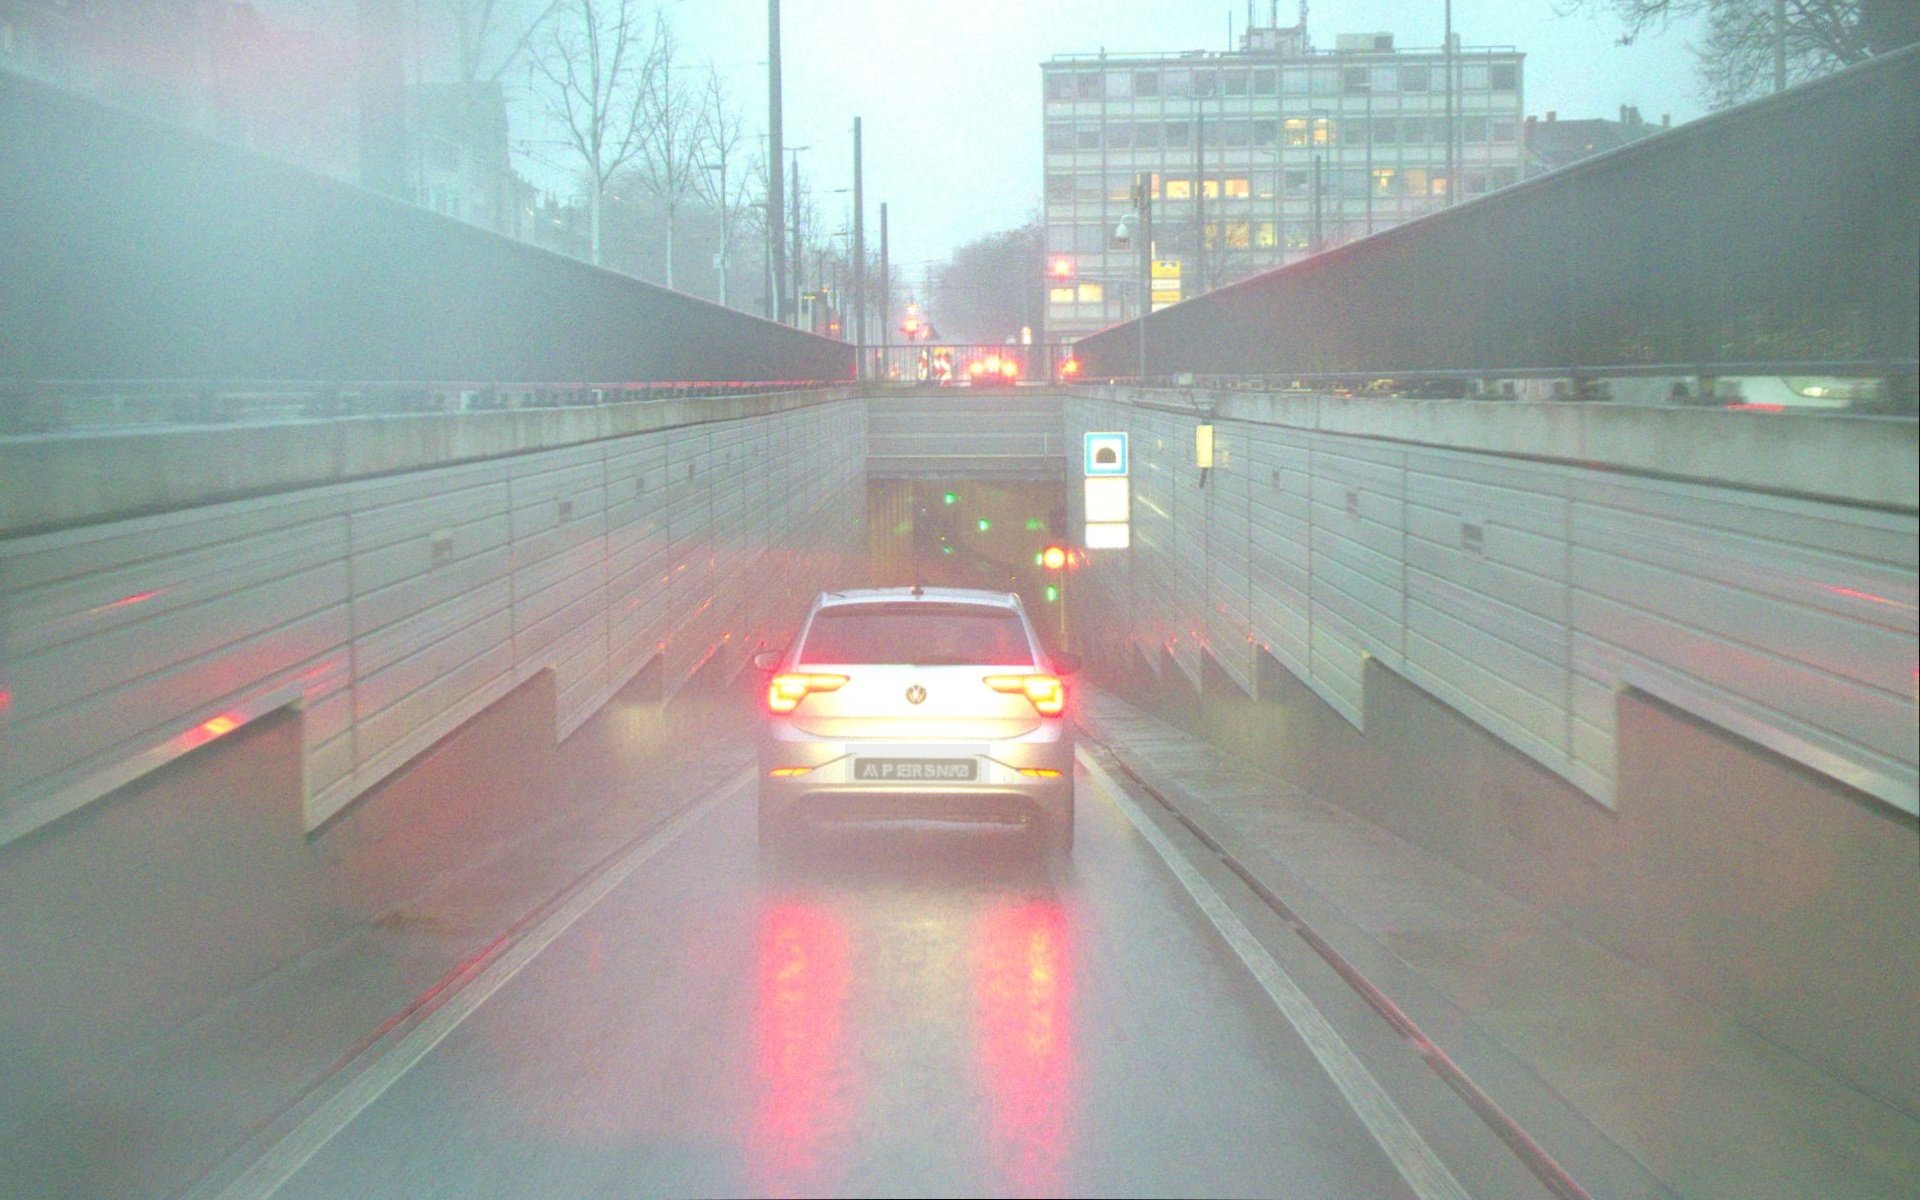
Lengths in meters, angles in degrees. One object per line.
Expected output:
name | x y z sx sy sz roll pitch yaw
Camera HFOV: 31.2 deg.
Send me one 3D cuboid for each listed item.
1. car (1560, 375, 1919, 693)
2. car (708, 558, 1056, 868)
car | 4.350 -0.411 18.221 1.722 1.474 4.001 2 3 2
car | -0.345 0.553 19.512 1.722 1.474 4.000 2 2 2
